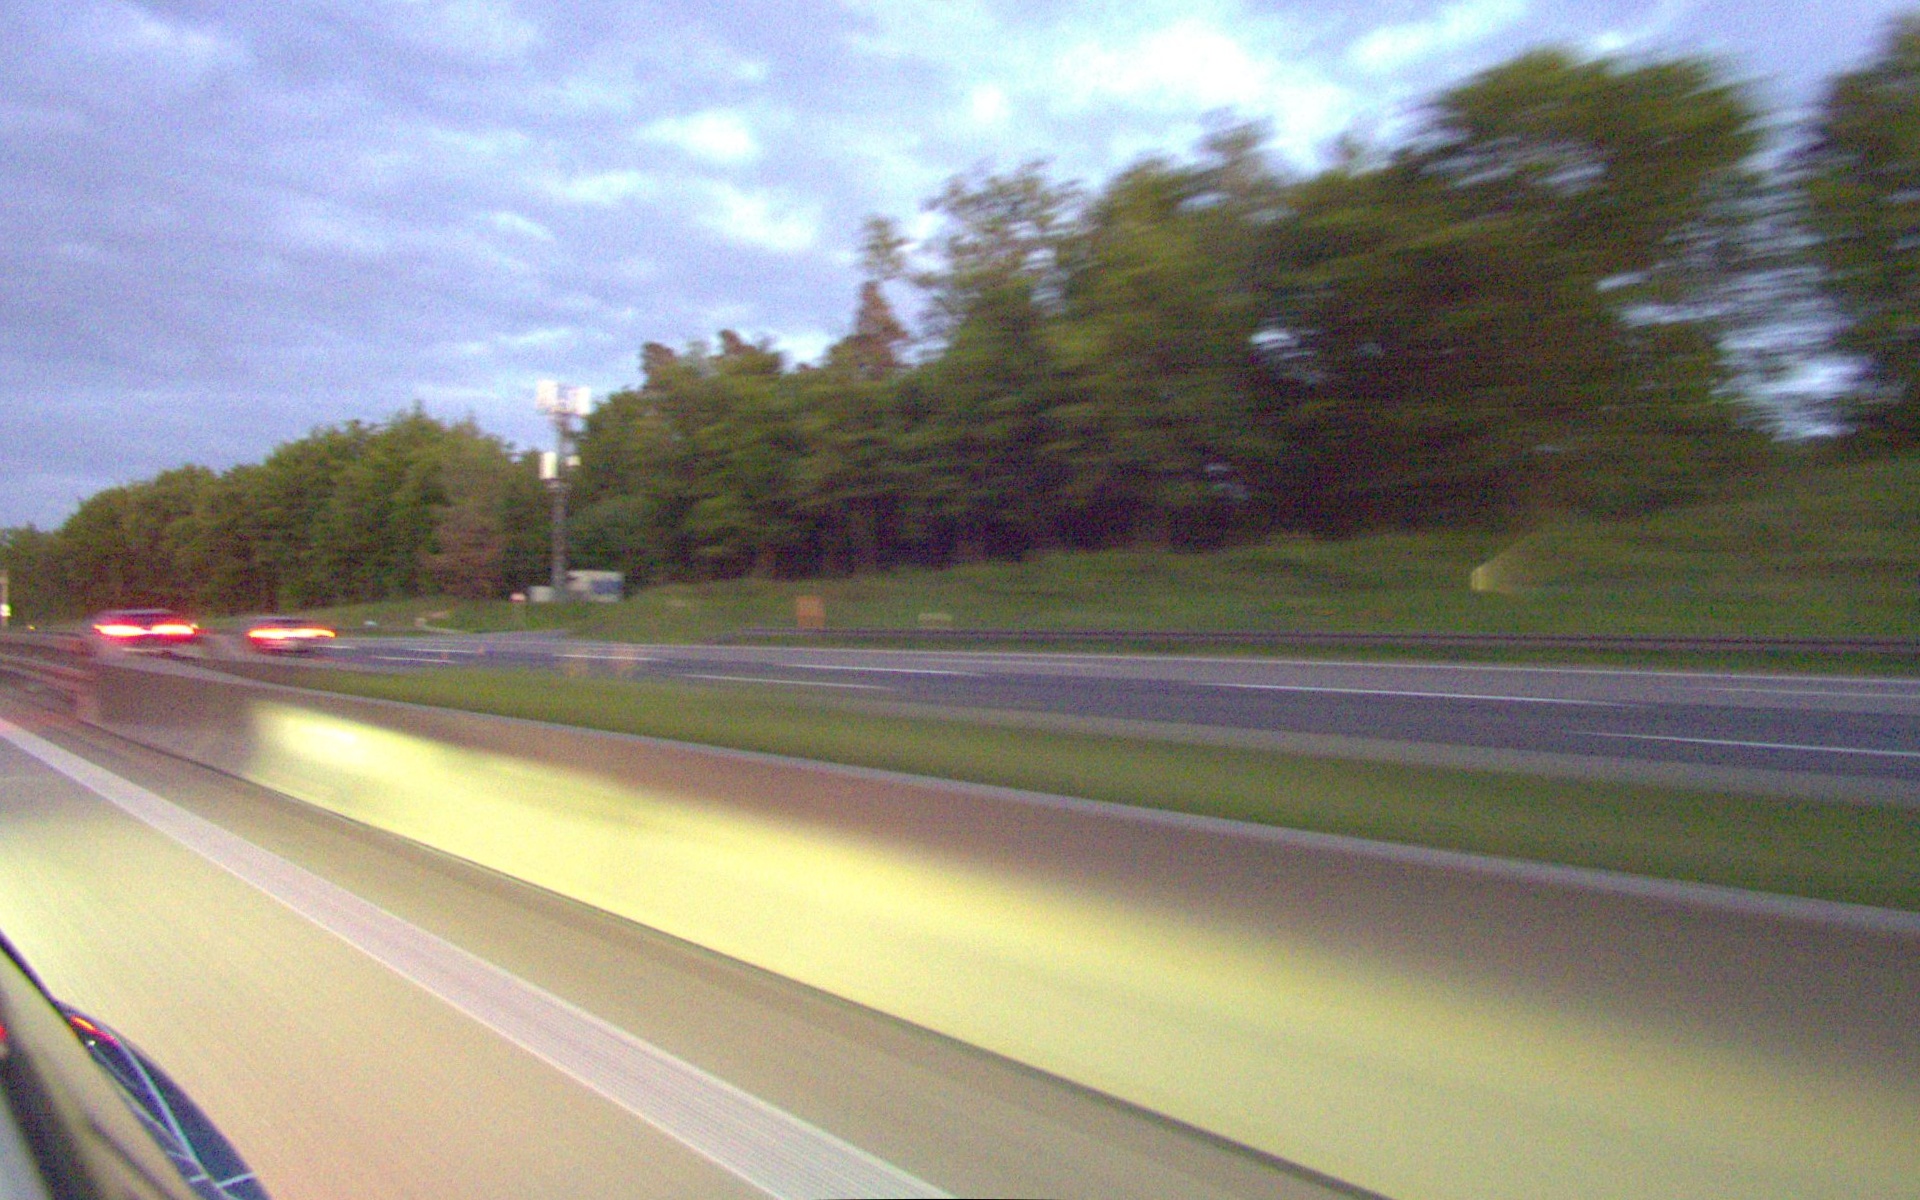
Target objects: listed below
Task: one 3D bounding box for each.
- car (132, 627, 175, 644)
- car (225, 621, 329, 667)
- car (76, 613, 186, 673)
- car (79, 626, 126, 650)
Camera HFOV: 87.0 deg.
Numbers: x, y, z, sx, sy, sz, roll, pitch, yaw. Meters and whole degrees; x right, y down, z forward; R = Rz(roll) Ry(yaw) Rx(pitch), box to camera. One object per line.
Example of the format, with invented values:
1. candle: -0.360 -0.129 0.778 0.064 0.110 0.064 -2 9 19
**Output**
1. car: -67.711 2.958 84.924 4.902 1.391 1.797 -1 0 39
2. car: -23.578 1.511 34.860 4.447 1.454 1.856 -2 -1 40
3. car: -27.584 1.406 33.617 4.826 1.811 1.973 -2 -1 40
4. car: -55.818 2.436 65.867 3.600 1.466 1.824 -1 -1 41
